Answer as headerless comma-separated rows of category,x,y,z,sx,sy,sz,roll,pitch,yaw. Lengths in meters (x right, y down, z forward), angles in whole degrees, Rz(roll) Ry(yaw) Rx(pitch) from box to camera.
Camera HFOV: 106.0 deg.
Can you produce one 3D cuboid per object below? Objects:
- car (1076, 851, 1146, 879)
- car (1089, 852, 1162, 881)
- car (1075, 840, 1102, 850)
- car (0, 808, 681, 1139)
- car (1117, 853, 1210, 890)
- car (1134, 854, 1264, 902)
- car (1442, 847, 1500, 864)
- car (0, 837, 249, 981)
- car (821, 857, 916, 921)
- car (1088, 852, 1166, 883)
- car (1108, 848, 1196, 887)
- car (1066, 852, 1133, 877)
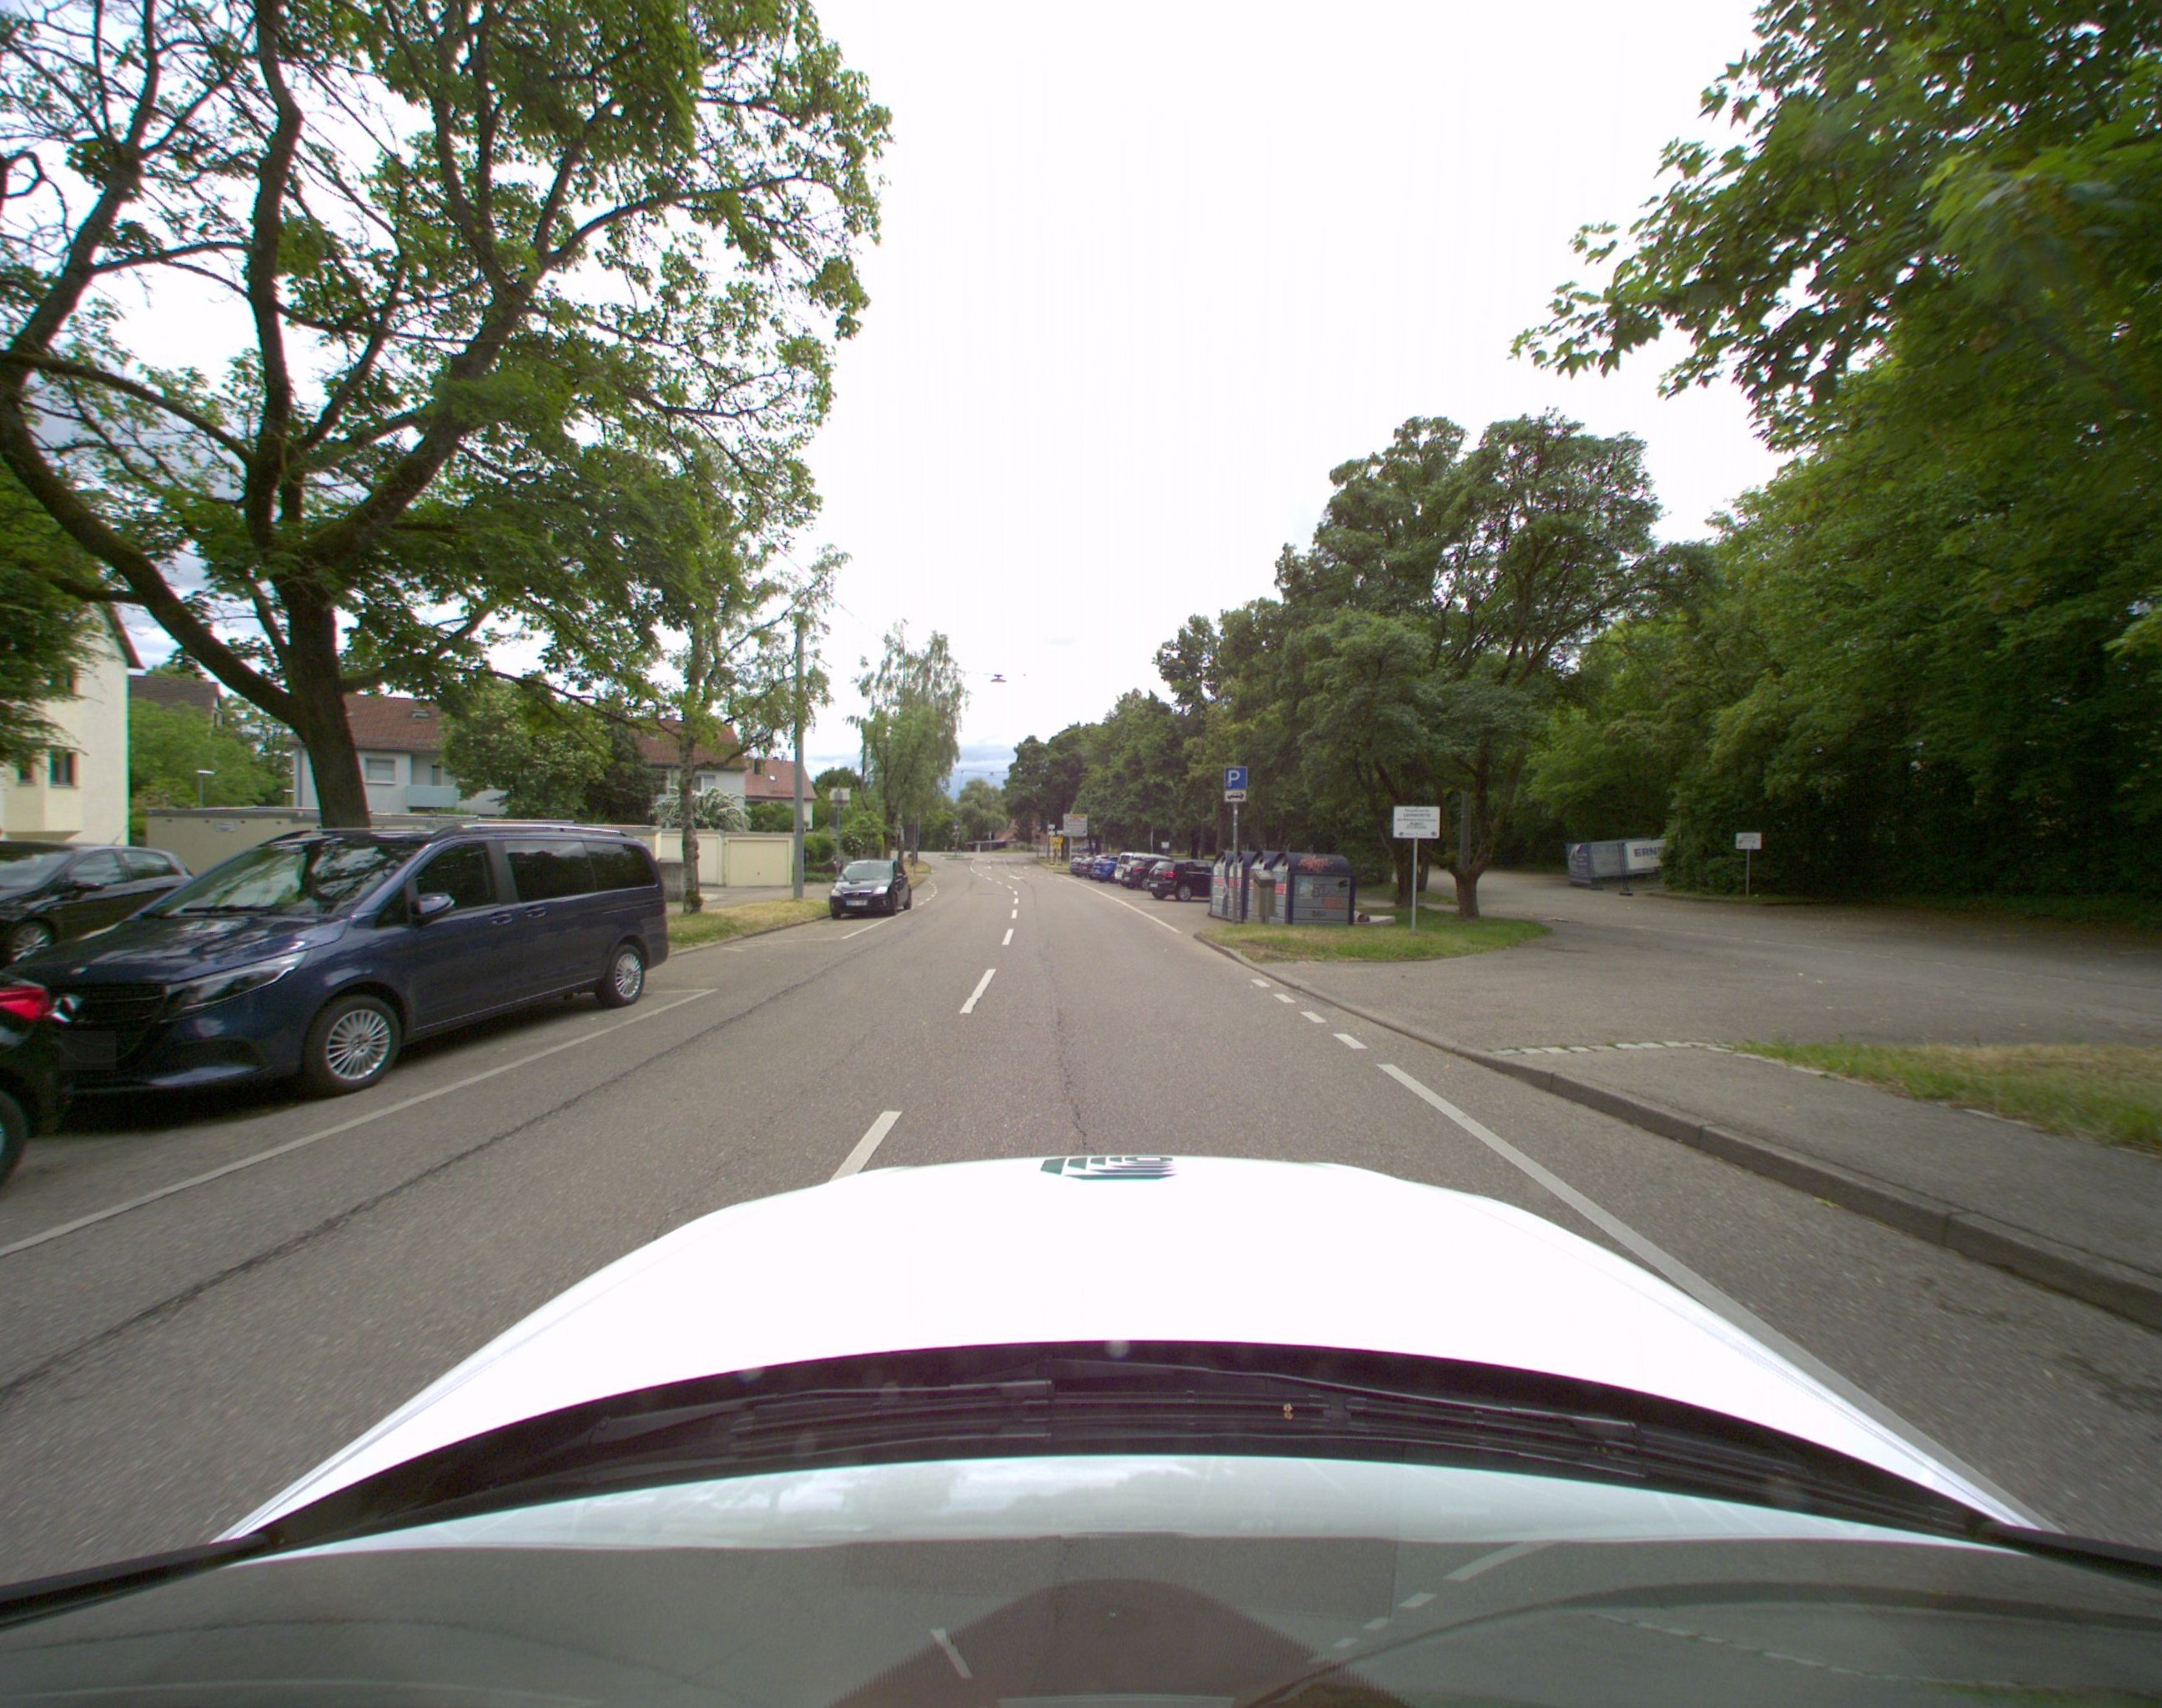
car,1.795,0.673,49.270,3.837,1.528,1.732,3,-1,-25
car,2.589,0.717,47.353,3.837,1.528,1.732,3,-1,-25
car,1.165,-1.460,130.040,3.866,1.647,1.983,0,1,-27
car,-5.765,0.687,7.246,1.852,1.909,5.083,0,0,0
car,3.748,0.806,36.969,3.837,1.468,1.732,3,0,-25
car,4.146,0.848,28.664,4.006,1.414,2.041,3,1,-25
car,31.915,0.100,66.717,3.974,1.409,1.800,0,0,0
car,-13.128,0.577,10.403,1.778,1.478,3.965,4,-1,-19
car,-6.021,0.927,23.564,1.801,1.563,4.261,-3,0,-4
car,2.507,0.734,44.405,3.837,1.528,1.732,3,-1,-25
car,3.471,0.669,39.717,3.837,1.720,1.863,3,-1,-25
car,1.212,0.690,52.415,3.891,1.426,1.815,3,-1,-25
